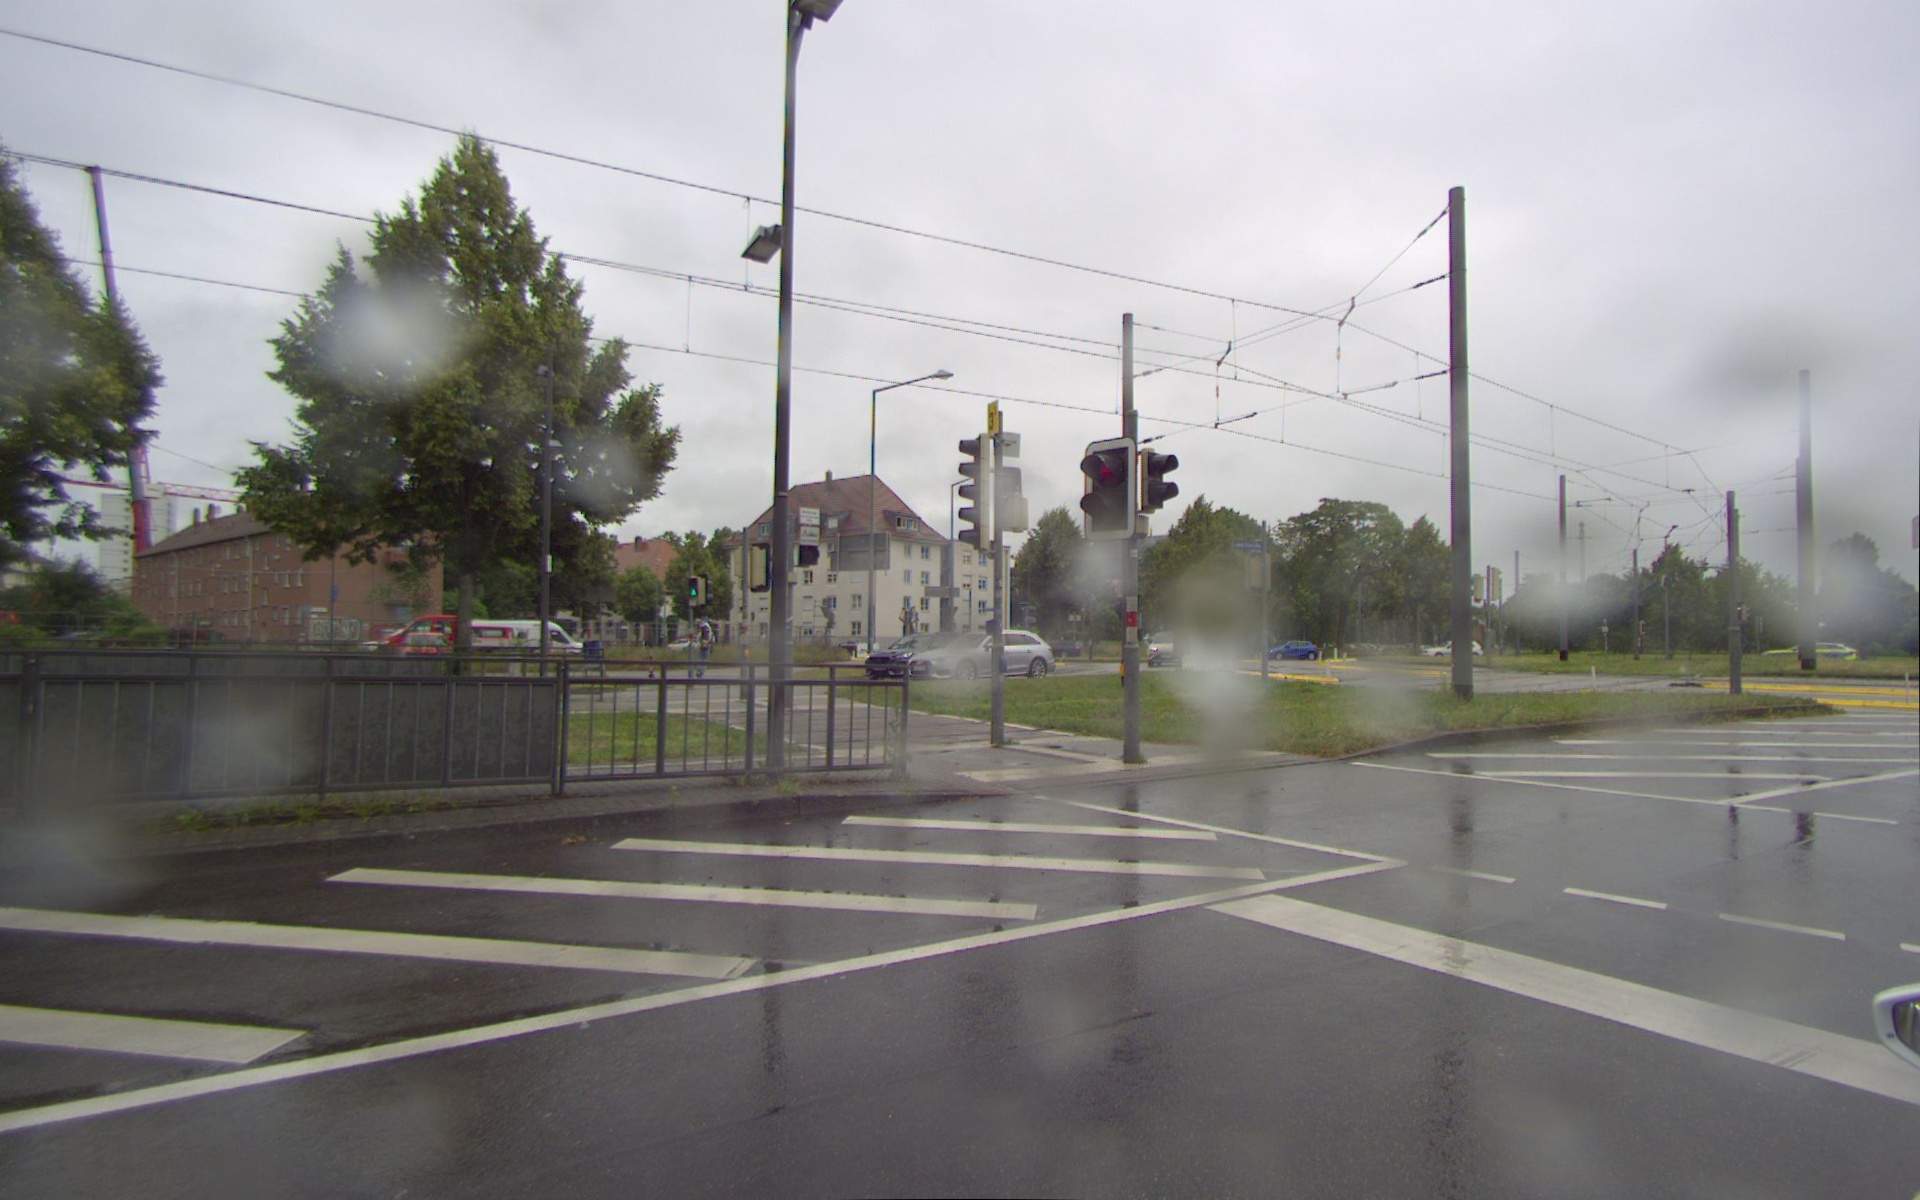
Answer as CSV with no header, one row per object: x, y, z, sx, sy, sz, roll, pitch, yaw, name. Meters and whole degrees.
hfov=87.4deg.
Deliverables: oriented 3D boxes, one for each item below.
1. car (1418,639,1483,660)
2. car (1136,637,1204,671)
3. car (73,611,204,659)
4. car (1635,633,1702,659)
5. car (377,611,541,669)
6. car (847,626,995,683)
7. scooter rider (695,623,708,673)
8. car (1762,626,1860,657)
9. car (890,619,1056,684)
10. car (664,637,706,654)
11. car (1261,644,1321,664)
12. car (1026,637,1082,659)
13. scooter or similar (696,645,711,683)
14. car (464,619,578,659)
35.064,3.520,71.872,3.906,1.473,1.625,0,-2,9,car
9.691,2.462,46.199,1.597,1.473,4.100,-1,-2,35,car
-45.368,1.976,55.661,5.441,2.485,1.980,3,0,-36,car
54.935,3.543,77.904,3.921,1.840,1.681,2,0,-1,car
-22.288,1.805,45.011,6.389,2.502,1.616,1,-2,-20,car
-1.162,1.649,31.192,4.371,1.649,1.975,2,-2,-42,car
-8.907,1.663,34.665,0.427,1.731,0.531,0,-3,-13,scooter rider
54.238,2.610,64.059,4.709,1.875,1.989,-1,-2,43,car
0.415,1.367,27.399,4.371,1.649,1.975,2,-2,-42,car
-25.968,4.270,94.752,4.558,1.473,1.614,-1,-2,43,car
24.174,3.941,73.421,3.910,1.473,1.623,0,-2,-3,car
6.811,3.452,72.463,3.906,1.473,1.625,0,-2,10,car
-8.836,2.190,34.640,0.440,1.276,1.587,0,-2,-13,scooter or similar
-25.944,2.333,59.616,6.004,2.308,1.617,1,-2,-18,car
